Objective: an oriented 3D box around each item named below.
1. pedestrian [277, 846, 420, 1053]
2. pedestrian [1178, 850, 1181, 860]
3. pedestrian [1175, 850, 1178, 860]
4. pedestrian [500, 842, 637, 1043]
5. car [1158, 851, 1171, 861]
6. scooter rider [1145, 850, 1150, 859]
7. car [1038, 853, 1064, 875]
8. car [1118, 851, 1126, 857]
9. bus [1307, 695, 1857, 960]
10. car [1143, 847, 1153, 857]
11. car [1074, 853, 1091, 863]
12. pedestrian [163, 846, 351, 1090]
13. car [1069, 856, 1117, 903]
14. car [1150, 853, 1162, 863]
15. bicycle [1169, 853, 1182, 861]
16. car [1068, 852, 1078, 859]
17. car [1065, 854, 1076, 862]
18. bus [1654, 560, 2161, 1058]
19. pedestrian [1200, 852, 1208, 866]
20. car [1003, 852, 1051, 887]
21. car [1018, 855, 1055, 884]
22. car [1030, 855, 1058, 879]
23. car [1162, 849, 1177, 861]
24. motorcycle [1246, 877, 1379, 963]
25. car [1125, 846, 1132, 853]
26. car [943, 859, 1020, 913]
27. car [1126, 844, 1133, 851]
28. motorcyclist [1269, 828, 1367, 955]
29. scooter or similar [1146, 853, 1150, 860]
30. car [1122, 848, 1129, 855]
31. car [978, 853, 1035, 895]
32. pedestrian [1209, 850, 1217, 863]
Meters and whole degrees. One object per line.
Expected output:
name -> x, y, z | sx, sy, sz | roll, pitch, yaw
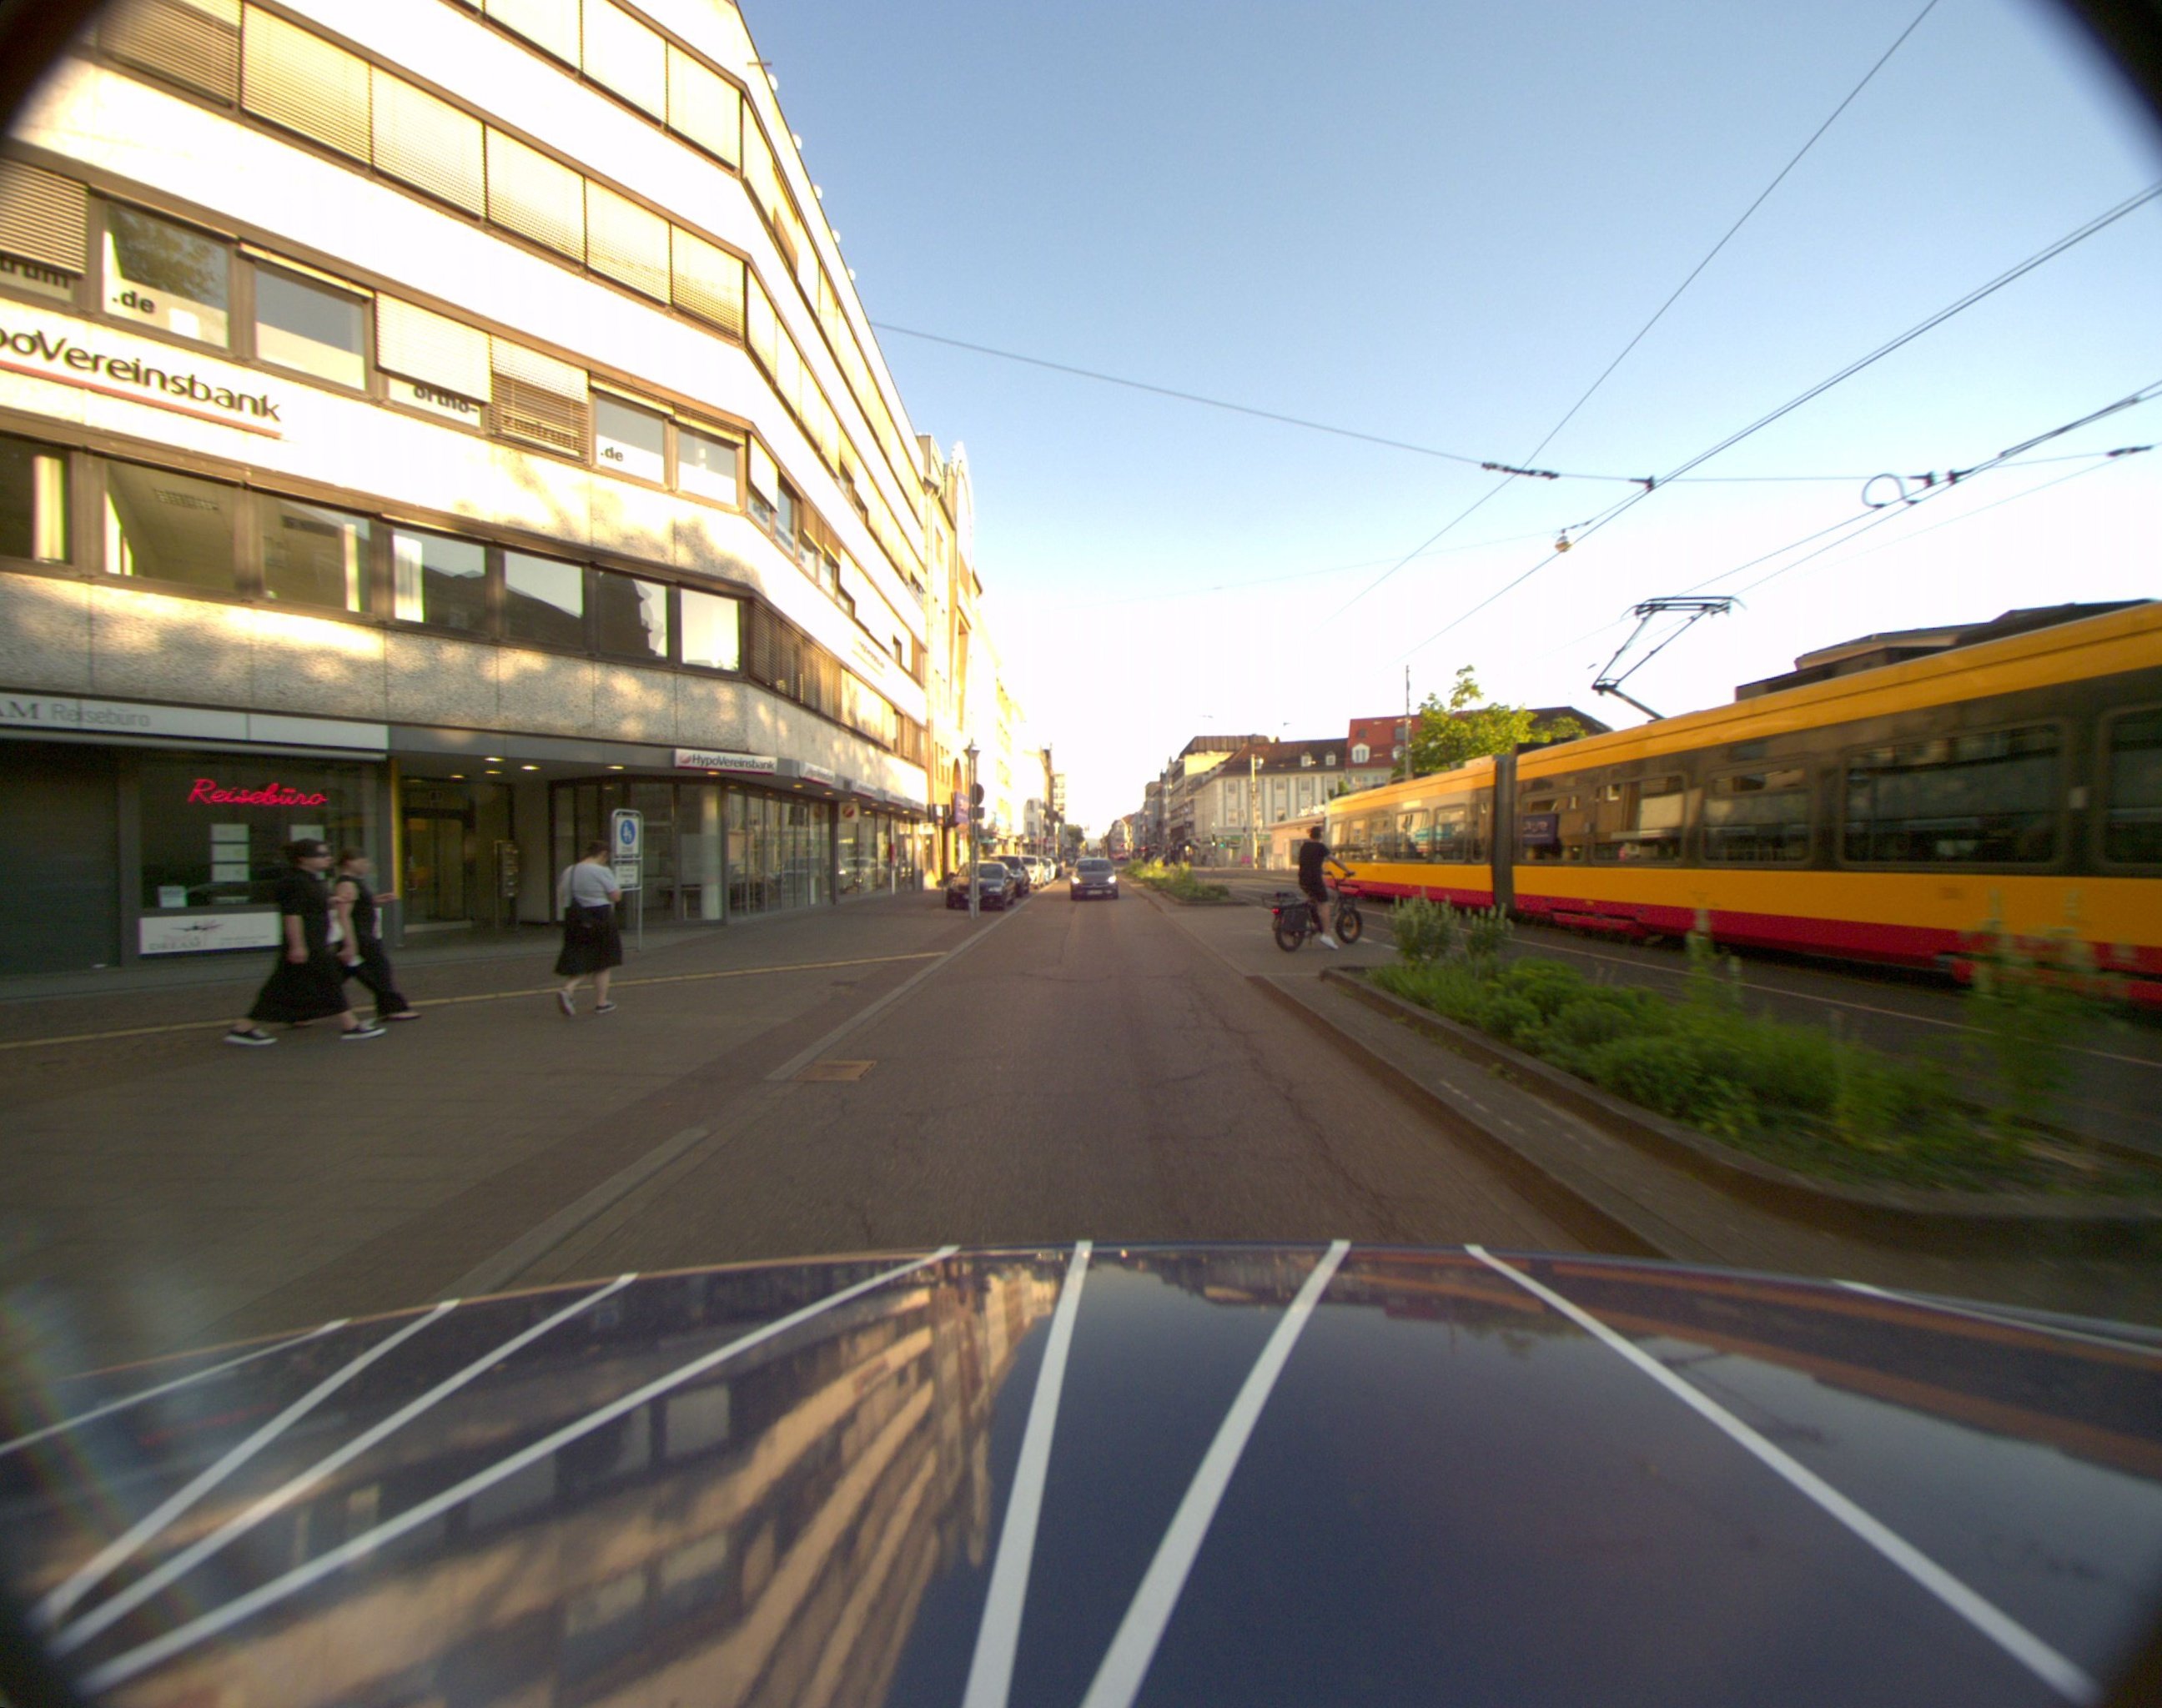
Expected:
pedestrian -> -6.506, 0.789, 6.801 | 0.825, 1.714, 0.657 | -1, 2, -37
pedestrian -> 17.391, 0.194, 134.324 | 0.515, 1.725, 0.601 | 0, 2, 1
pedestrian -> 16.846, 0.215, 134.226 | 0.509, 1.675, 0.583 | -1, 2, 0
pedestrian -> -4.834, 0.795, 7.218 | 0.715, 1.793, 0.824 | 0, 0, 4
car -> 14.197, 0.329, 129.076 | 1.701, 1.614, 4.000 | -1, 0, 0
scooter rider -> 13.004, 0.100, 148.197 | 0.813, 1.796, 0.788 | -1, 1, 2
car -> -2.229, 0.749, 57.462 | 1.769, 1.595, 4.287 | -1, 0, 0
car -> 11.963, 0.072, 221.919 | 1.895, 1.471, 4.545 | 2, -2, 1
bus -> 9.477, -0.390, 19.054 | 2.829, 3.630, 17.072 | 0, 0, 1
car -> 14.345, -0.392, 163.213 | 1.998, 2.002, 3.999 | 0, 2, 1
car -> 0.256, 0.531, 100.639 | 1.914, 1.350, 3.747 | -2, 0, 4
pedestrian -> -6.360, 0.814, 5.928 | 0.825, 1.731, 0.657 | -2, 3, -37
car -> 0.412, 0.844, 26.867 | 1.587, 1.445, 3.842 | 0, 1, 0
car -> 13.611, 0.669, 137.570 | 1.819, 1.548, 3.999 | 0, 2, 1
bicycle -> 13.719, 0.436, 110.329 | 1.740, 1.052, 0.499 | 0, -1, 9
car -> -1.663, 0.299, 156.696 | 2.041, 1.550, 4.386 | -1, 0, 0
car -> -1.925, 0.700, 144.914 | 2.041, 1.550, 4.386 | -1, 0, 0
bus -> 9.249, -0.343, 6.320 | 2.829, 3.604, 8.288 | 0, 1, 1
pedestrian -> 15.632, 0.628, 96.257 | 0.826, 1.718, 0.814 | -2, 1, 17
car -> -2.598, 0.727, 37.526 | 1.821, 1.576, 4.723 | -1, 0, 2
car -> -2.509, 0.849, 43.501 | 1.814, 1.543, 4.836 | -1, 0, 0
car -> -2.469, 0.821, 51.429 | 1.735, 1.427, 4.151 | 0, 2, -1
car -> 14.245, 0.141, 122.943 | 1.915, 1.785, 4.128 | -2, 1, 0
motorcycle -> 3.478, 0.947, 11.378 | 2.053, 1.117, 0.567 | -2, 3, -26
car -> 14.915, -1.352, 238.540 | 1.974, 2.002, 3.998 | -1, 2, -1
car -> -2.935, 0.910, 23.296 | 1.659, 1.372, 4.341 | 3, 0, 1
car -> 15.659, -2.076, 244.885 | 1.975, 2.181, 4.132 | 0, 2, 1
motorcyclist -> 3.542, 0.516, 11.412 | 1.006, 1.803, 0.957 | -2, 3, -26
scooter or similar -> 13.025, 0.542, 148.026 | 0.545, 1.343, 1.669 | -1, 0, 2
car -> 14.718, -0.837, 251.915 | 1.960, 2.002, 3.998 | -1, 2, -1
car -> -2.927, 0.794, 30.673 | 1.780, 1.529, 4.579 | 0, -1, 1
pedestrian -> 16.468, 0.290, 95.071 | 0.826, 1.631, 0.815 | -2, 0, 17
